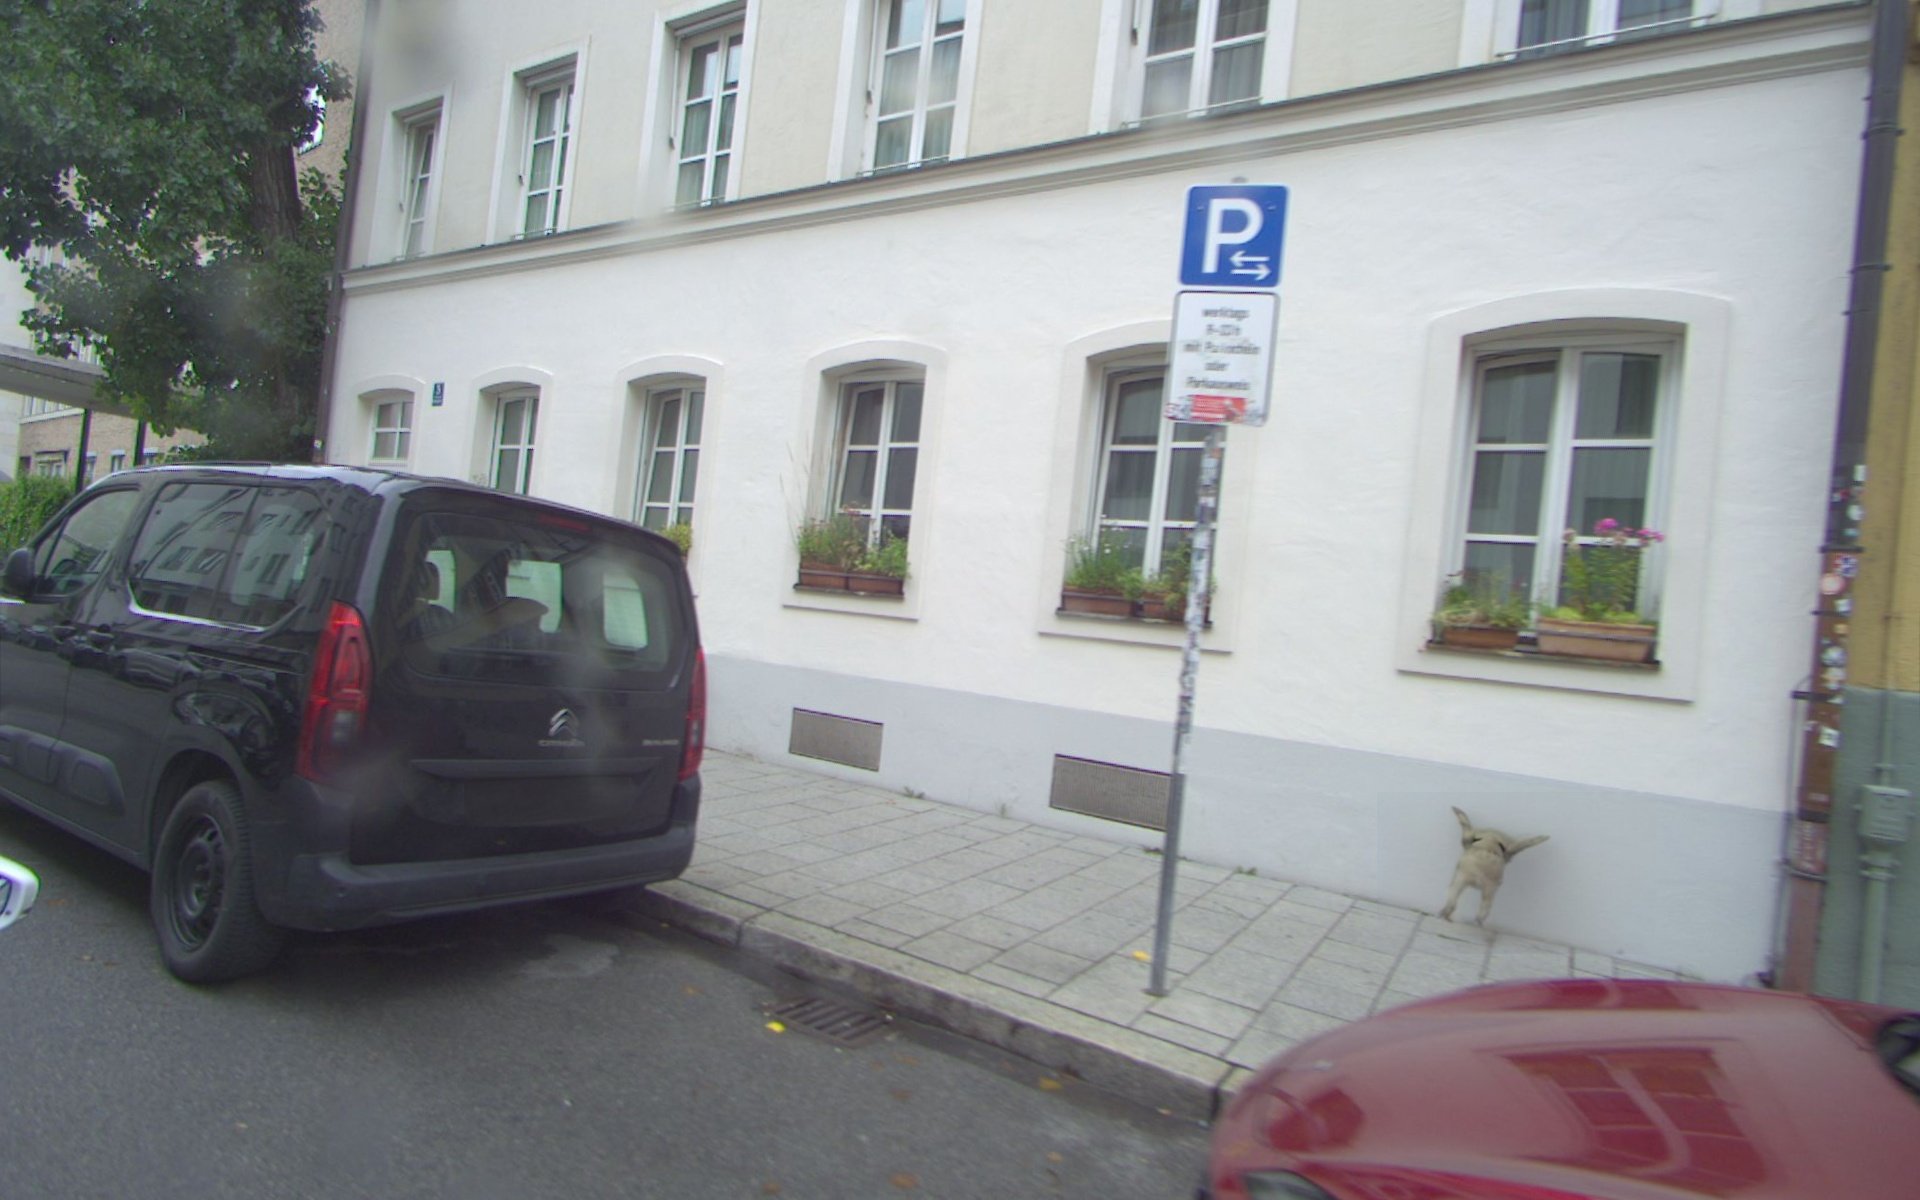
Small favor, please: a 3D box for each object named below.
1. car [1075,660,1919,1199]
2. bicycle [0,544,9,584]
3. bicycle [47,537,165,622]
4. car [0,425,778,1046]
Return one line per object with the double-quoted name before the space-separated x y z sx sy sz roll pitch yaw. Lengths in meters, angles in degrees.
"car" 2.449 1.056 0.953 4.383 1.441 1.716 6 -1 31
"bicycle" -21.244 -0.848 21.755 1.409 0.827 0.517 6 0 29
"bicycle" -13.080 -0.327 15.391 2.187 1.087 0.671 6 0 32
"car" -3.136 0.334 4.796 4.132 1.796 1.851 5 -4 32
